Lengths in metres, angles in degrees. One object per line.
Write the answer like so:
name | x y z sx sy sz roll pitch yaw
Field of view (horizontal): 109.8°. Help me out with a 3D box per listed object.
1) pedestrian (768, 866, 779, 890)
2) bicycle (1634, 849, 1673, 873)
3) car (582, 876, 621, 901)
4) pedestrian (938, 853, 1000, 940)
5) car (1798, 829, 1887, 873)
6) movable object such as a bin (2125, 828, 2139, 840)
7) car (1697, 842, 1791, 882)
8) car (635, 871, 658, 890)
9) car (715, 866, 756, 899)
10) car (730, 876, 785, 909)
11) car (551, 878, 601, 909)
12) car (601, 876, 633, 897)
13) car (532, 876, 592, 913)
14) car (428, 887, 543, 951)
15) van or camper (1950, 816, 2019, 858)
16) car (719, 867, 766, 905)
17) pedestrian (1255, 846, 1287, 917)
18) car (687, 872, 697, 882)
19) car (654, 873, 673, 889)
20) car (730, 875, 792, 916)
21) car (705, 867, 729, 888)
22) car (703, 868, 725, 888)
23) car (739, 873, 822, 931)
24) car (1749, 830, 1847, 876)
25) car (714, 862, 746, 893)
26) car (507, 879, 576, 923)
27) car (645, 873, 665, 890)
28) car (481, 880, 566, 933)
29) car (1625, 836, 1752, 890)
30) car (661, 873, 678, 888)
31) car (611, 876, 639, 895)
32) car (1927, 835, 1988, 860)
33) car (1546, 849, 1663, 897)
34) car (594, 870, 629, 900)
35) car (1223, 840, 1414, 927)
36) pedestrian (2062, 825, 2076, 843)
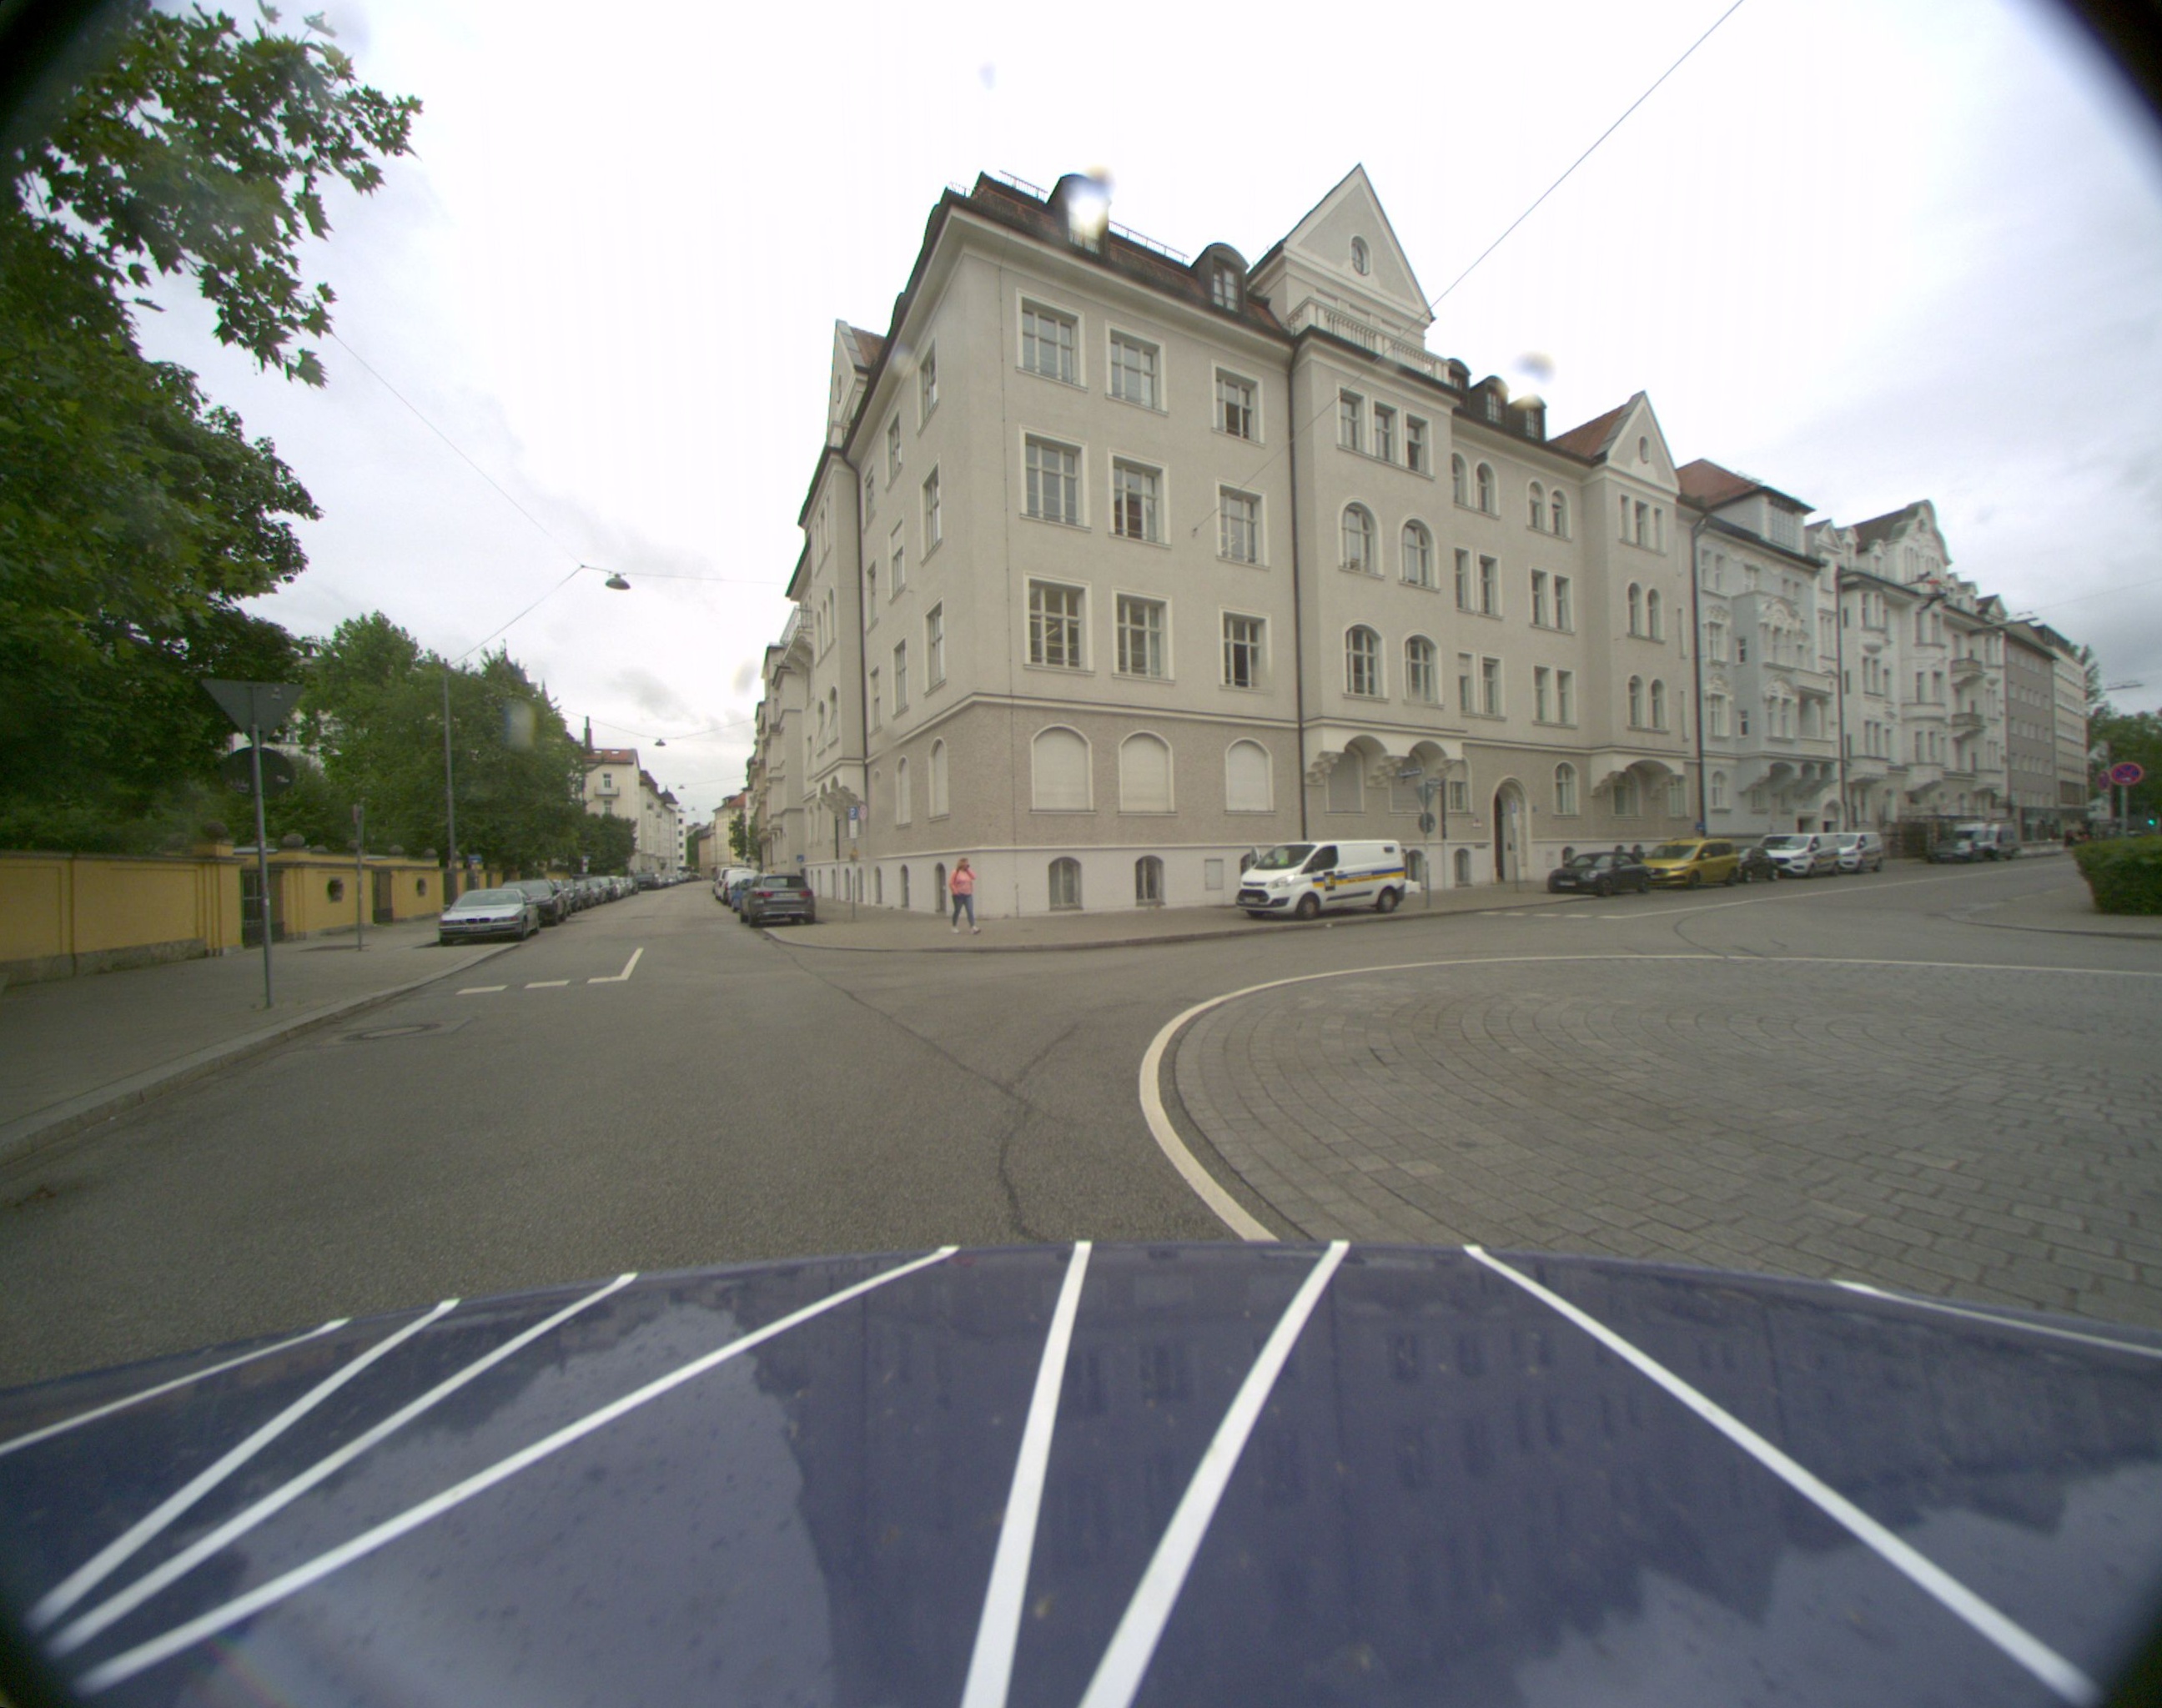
pedestrian | -26.059 2.057 64.383 0.712 2.002 0.708 -2 0 -26
bicycle | 27.013 0.324 35.830 2.040 1.087 0.695 -2 2 -29
car | -29.926 2.127 47.495 1.777 1.436 4.058 -1 0 -29
pedestrian | -2.549 0.930 17.216 1.212 1.862 1.090 -2 0 -15
car | 37.269 -0.162 37.166 5.001 2.002 1.961 -2 0 -32
movable object such as a bin | 111.856 -2.108 80.854 0.800 1.243 0.875 -2 1 -36
car | 26.981 0.302 30.906 3.789 1.475 1.633 -2 0 -29
car | -43.888 2.696 76.840 1.777 1.792 4.335 -2 0 -27
car | -20.691 1.652 45.406 1.895 1.872 4.411 -1 -1 -29
car | -15.124 1.756 35.411 1.895 1.366 4.411 -1 -1 -29
car | -26.139 2.009 39.472 1.777 1.436 4.394 -1 0 -29
car | -34.490 2.395 56.560 1.777 1.436 4.058 -1 0 -29
car | -23.891 1.823 35.119 1.828 1.521 4.394 -2 0 -29
car | -16.219 1.689 20.940 1.828 1.394 4.562 -1 0 -30
van or camper | 58.931 -1.128 49.530 5.466 2.621 1.955 -2 0 -30
car | -17.818 1.609 39.863 1.895 1.842 4.411 -1 -1 -29
pedestrian | 5.124 0.746 20.546 0.676 1.877 0.592 -2 0 0
car | -75.637 4.412 147.752 1.777 1.792 4.335 -2 0 -27
car | -50.126 3.217 91.235 1.777 1.792 4.335 -2 0 -27
car | -13.165 1.636 31.099 1.895 1.455 4.411 -1 -1 -29
car | -36.244 2.327 75.589 1.895 2.024 4.411 -1 -1 -28
car | -38.636 2.472 79.993 1.895 2.024 4.411 -1 -1 -28
car | -9.670 1.449 24.241 1.895 1.606 4.411 -1 -1 -29
car | 32.093 -0.074 33.969 5.001 1.926 1.961 -2 0 -32
car | -26.678 1.755 57.691 1.895 2.243 4.411 -1 -1 -28
car | -21.560 1.832 30.526 1.828 1.521 4.394 -1 0 -30
car | -48.389 3.075 86.375 1.777 1.792 4.335 -2 0 -27
car | -18.989 1.724 26.073 1.828 1.521 4.562 -1 0 -30
car | 22.618 0.300 28.255 4.827 1.842 1.852 -2 0 -27
car | -54.701 3.533 101.128 1.777 1.792 4.335 -2 0 -27
car | -36.727 2.499 61.235 1.777 1.436 4.058 -1 0 -29
car | 53.664 -0.398 46.499 4.093 1.426 1.755 -2 0 -31
car | 17.738 0.610 25.709 3.902 1.449 1.665 -2 0 -29
car | -32.312 2.086 52.359 1.777 1.874 4.058 -2 0 -29
car | 6.239 0.670 19.743 4.934 1.951 1.917 -2 1 -31
pedestrian | 94.531 -1.915 72.671 0.747 1.723 0.703 -2 1 -30
